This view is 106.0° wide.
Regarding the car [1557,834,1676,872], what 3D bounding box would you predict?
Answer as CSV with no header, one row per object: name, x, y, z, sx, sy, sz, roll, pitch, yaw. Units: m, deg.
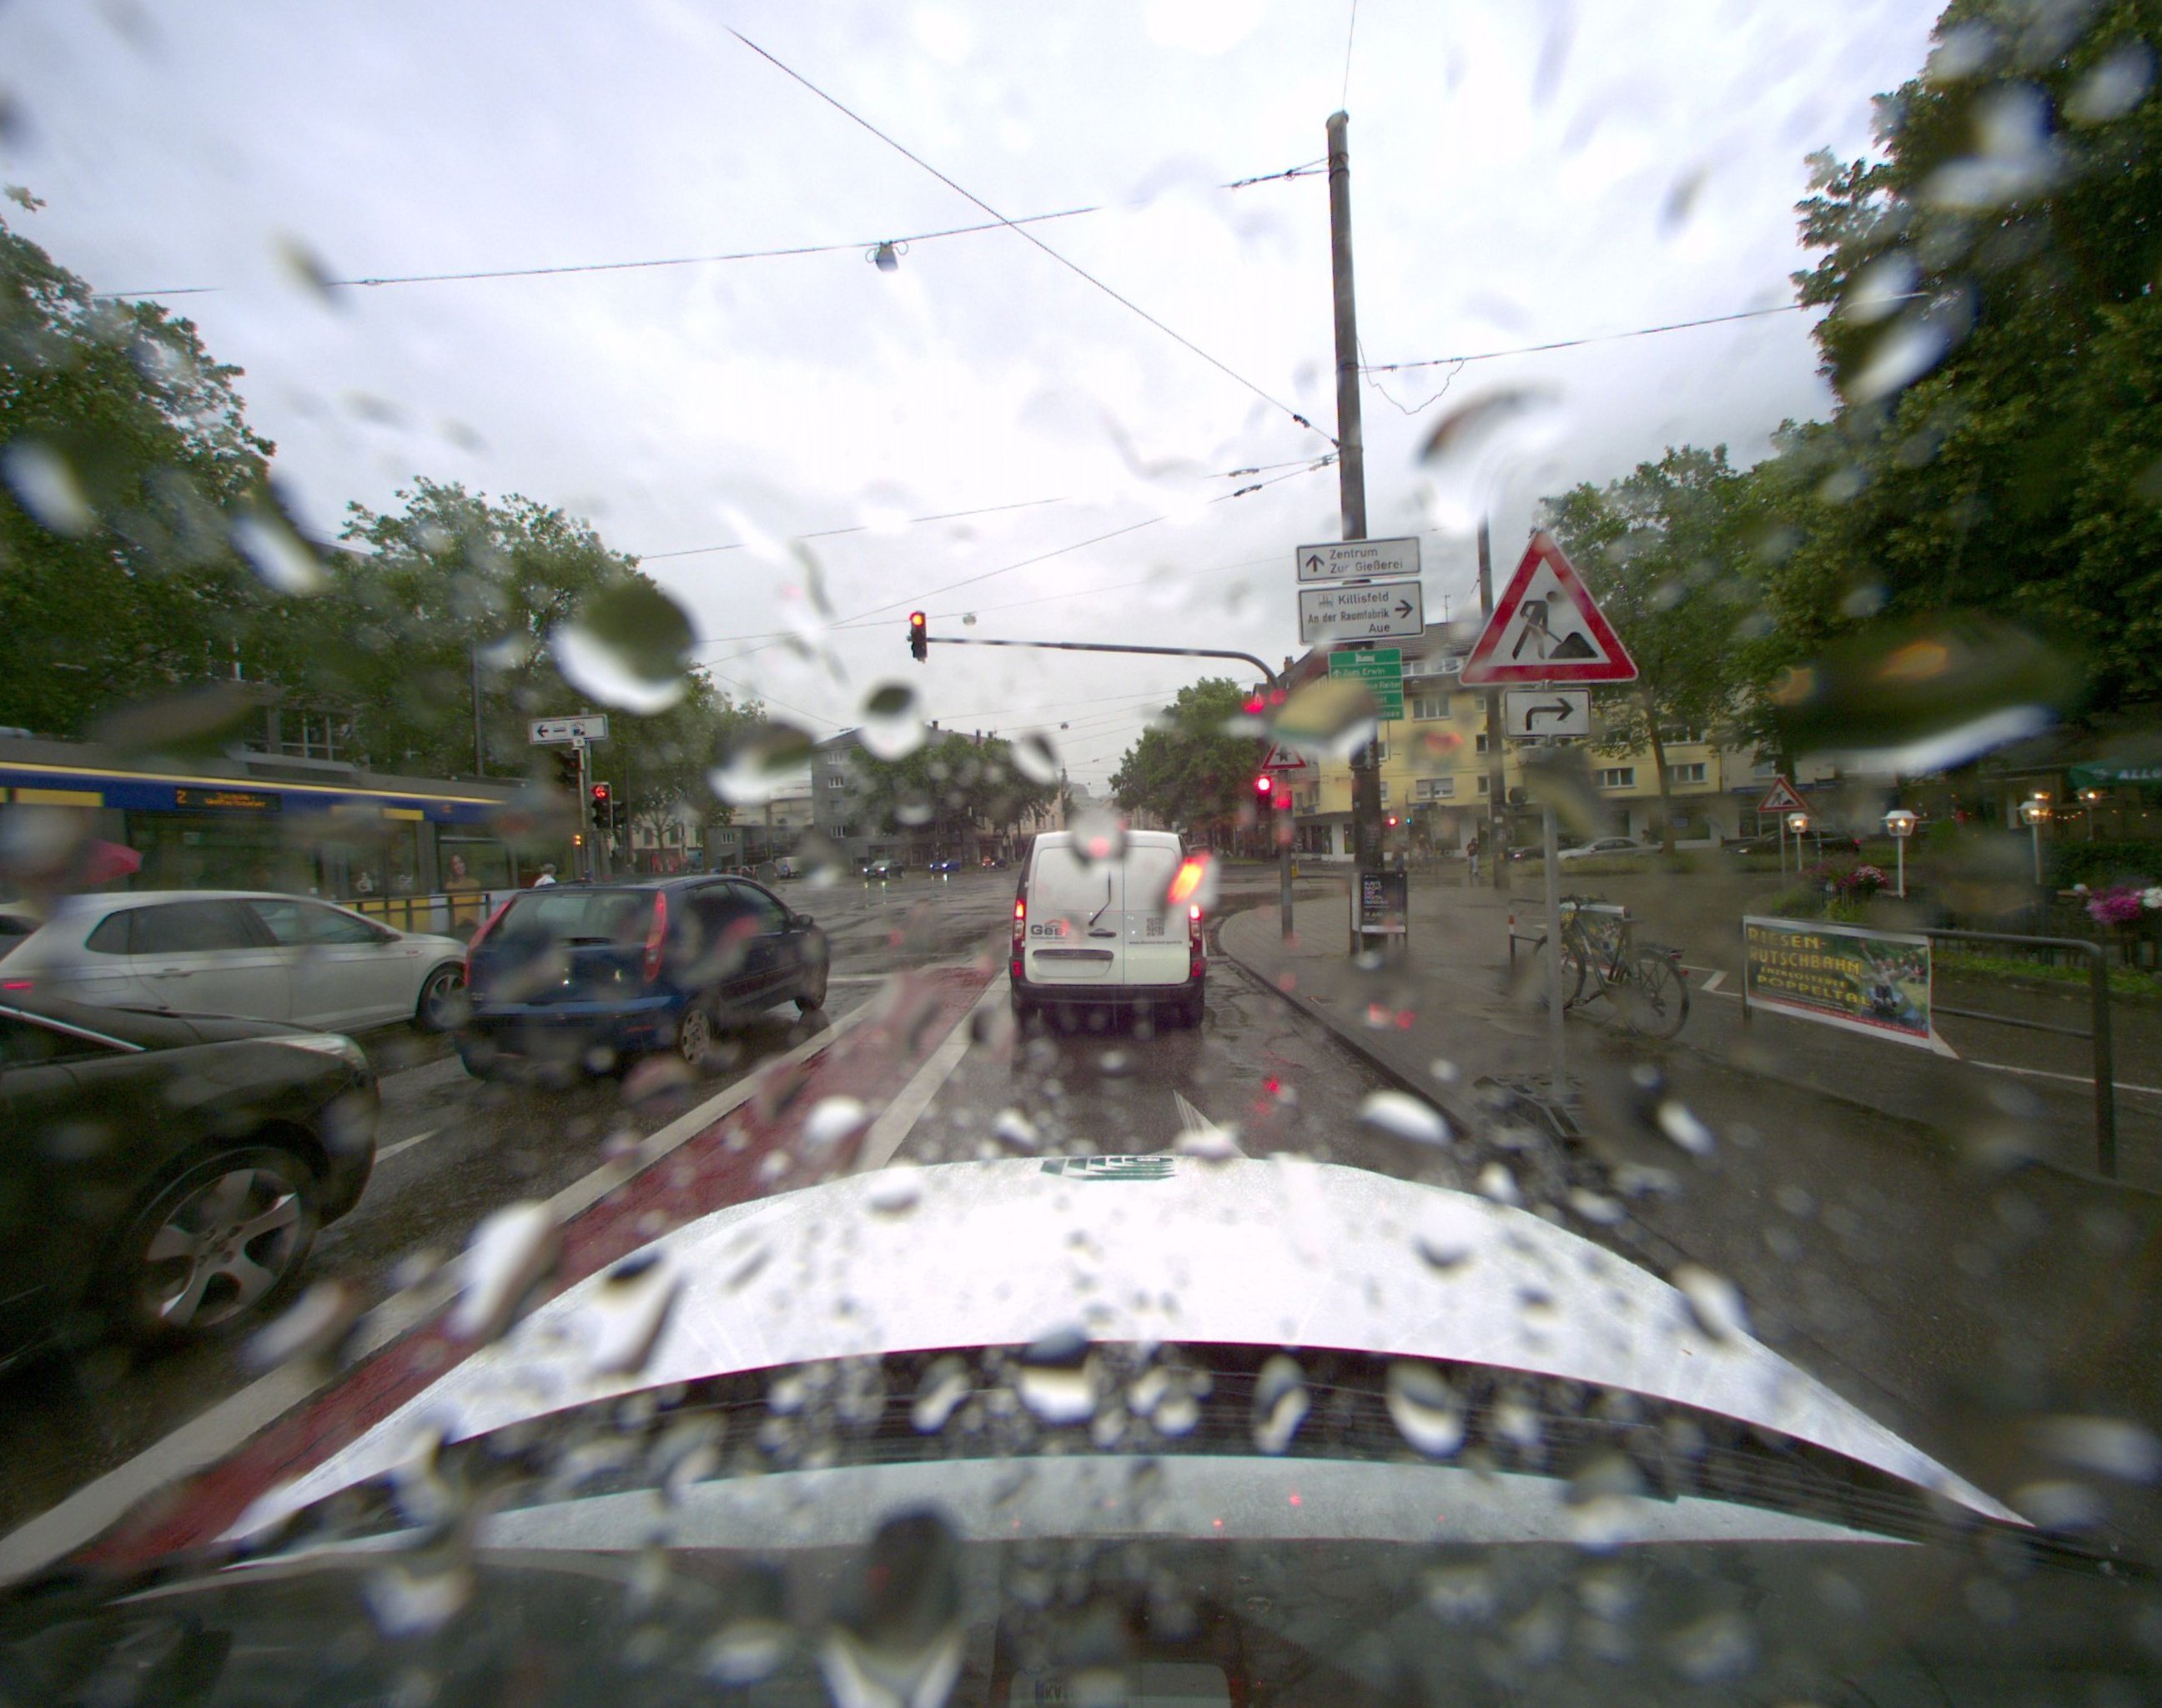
car,23.005,-0.042,35.149,3.906,1.490,1.815,-1,1,17

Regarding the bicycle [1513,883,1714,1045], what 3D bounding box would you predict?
bicycle,4.479,0.848,7.042,0.512,1.107,2.018,1,0,3

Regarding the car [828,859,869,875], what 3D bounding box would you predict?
car,-25.015,1.410,87.655,1.975,1.530,4.025,-1,1,29

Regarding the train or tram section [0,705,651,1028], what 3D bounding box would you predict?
train or tram section,-12.914,0.144,12.440,3.525,3.413,15.521,0,0,4

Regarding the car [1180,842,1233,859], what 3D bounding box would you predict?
car,10.578,-0.317,68.863,4.160,1.339,1.518,-2,1,-6

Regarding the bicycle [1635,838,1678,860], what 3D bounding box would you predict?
bicycle,26.671,-0.220,37.756,1.631,1.002,0.423,-1,0,2

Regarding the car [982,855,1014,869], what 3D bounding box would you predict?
car,-9.049,0.862,89.096,1.935,1.239,4.020,-1,1,19

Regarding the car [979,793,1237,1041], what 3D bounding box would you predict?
car,0.303,0.543,9.267,2.092,2.012,4.965,-2,-1,2

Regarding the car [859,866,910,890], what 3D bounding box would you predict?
car,-15.225,1.872,63.358,1.935,1.607,4.020,-1,1,19

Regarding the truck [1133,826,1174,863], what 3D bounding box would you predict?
truck,10.982,-1.384,121.756,3.444,5.087,15.368,-1,0,15

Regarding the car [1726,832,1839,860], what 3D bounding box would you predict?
car,29.271,-0.321,34.030,3.511,1.082,1.248,-1,0,4

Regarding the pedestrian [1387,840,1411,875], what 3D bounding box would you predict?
pedestrian,14.405,0.163,36.893,0.820,1.534,0.616,-1,-1,-37

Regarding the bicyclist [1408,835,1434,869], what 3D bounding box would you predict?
bicyclist,16.107,-0.106,38.629,0.874,1.583,0.861,-1,0,4

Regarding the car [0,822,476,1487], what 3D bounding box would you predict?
car,-3.655,0.768,1.514,1.827,1.668,4.174,-1,0,2

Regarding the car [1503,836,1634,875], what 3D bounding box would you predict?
car,22.847,0.109,38.369,4.902,1.643,2.007,-1,-3,14

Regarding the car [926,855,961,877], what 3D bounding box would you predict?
car,-12.853,1.096,76.602,1.981,2.013,4.011,-1,0,10

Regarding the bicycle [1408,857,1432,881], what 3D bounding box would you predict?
bicycle,16.128,0.707,38.732,0.456,1.027,1.904,-2,1,4

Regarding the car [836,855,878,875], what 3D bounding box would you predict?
car,-23.436,1.182,85.449,1.975,2.013,4.025,-1,0,29

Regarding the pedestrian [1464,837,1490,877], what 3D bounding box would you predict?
pedestrian,16.905,0.143,34.759,0.896,1.669,1.026,-1,0,28

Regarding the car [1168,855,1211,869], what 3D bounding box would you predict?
car,9.404,0.668,70.696,3.437,1.130,1.468,-1,0,-6

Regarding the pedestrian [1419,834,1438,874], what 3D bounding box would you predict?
pedestrian,17.673,0.007,41.408,0.787,2.014,0.865,-1,-1,27

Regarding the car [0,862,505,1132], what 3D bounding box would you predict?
car,-6.822,0.843,6.521,1.623,1.494,3.783,-1,0,2

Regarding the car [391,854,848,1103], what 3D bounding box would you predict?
car,-3.522,0.808,7.150,1.720,1.578,3.822,-1,0,2

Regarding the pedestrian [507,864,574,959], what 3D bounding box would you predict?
pedestrian,-9.463,0.990,14.282,0.621,1.607,0.744,-1,0,9

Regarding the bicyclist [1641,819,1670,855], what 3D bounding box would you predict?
bicyclist,26.622,-0.784,37.766,0.810,1.615,0.711,-1,0,2

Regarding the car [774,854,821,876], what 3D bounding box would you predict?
car,-30.768,1.153,88.408,1.975,2.198,4.816,0,2,25

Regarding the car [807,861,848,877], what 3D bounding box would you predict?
car,-27.537,1.651,88.481,1.935,1.496,4.025,-1,1,29

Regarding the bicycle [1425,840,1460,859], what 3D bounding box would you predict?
bicycle,24.318,-0.299,54.855,2.085,1.261,0.534,-1,1,16

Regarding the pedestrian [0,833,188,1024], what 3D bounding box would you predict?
pedestrian,-9.853,0.694,8.118,0.763,1.746,0.899,-4,1,1
